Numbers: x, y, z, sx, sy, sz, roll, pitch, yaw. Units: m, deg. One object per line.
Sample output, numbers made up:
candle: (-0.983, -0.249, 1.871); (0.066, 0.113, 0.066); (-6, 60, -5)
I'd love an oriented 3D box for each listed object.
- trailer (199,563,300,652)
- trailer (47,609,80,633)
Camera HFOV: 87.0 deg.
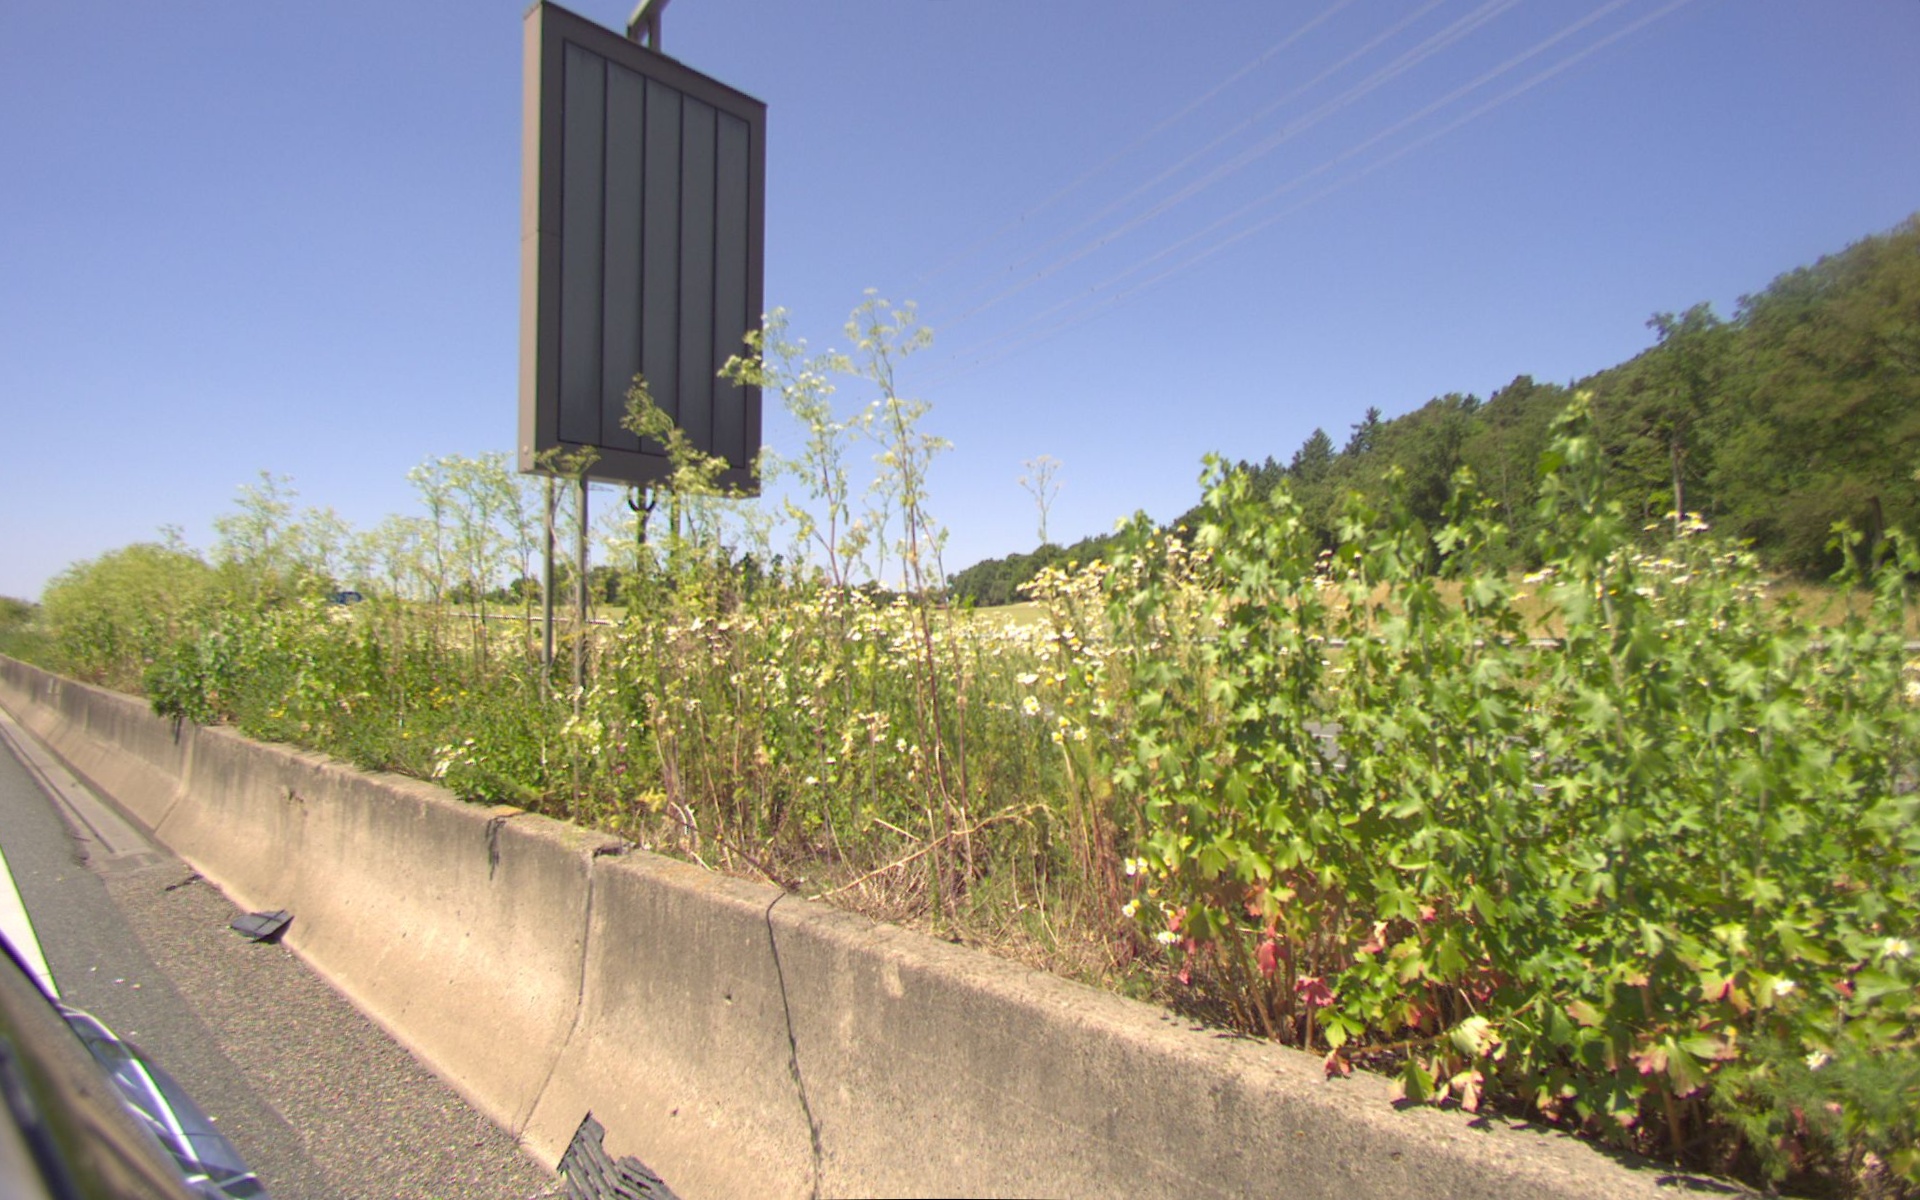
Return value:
trailer: (-43.898, 0.498, 62.404); (9.593, 5.086, 3.285); (-1, -2, 44)
trailer: (-143.176, 3.393, 161.661); (8.201, 3.790, 3.148); (-1, -3, 43)
